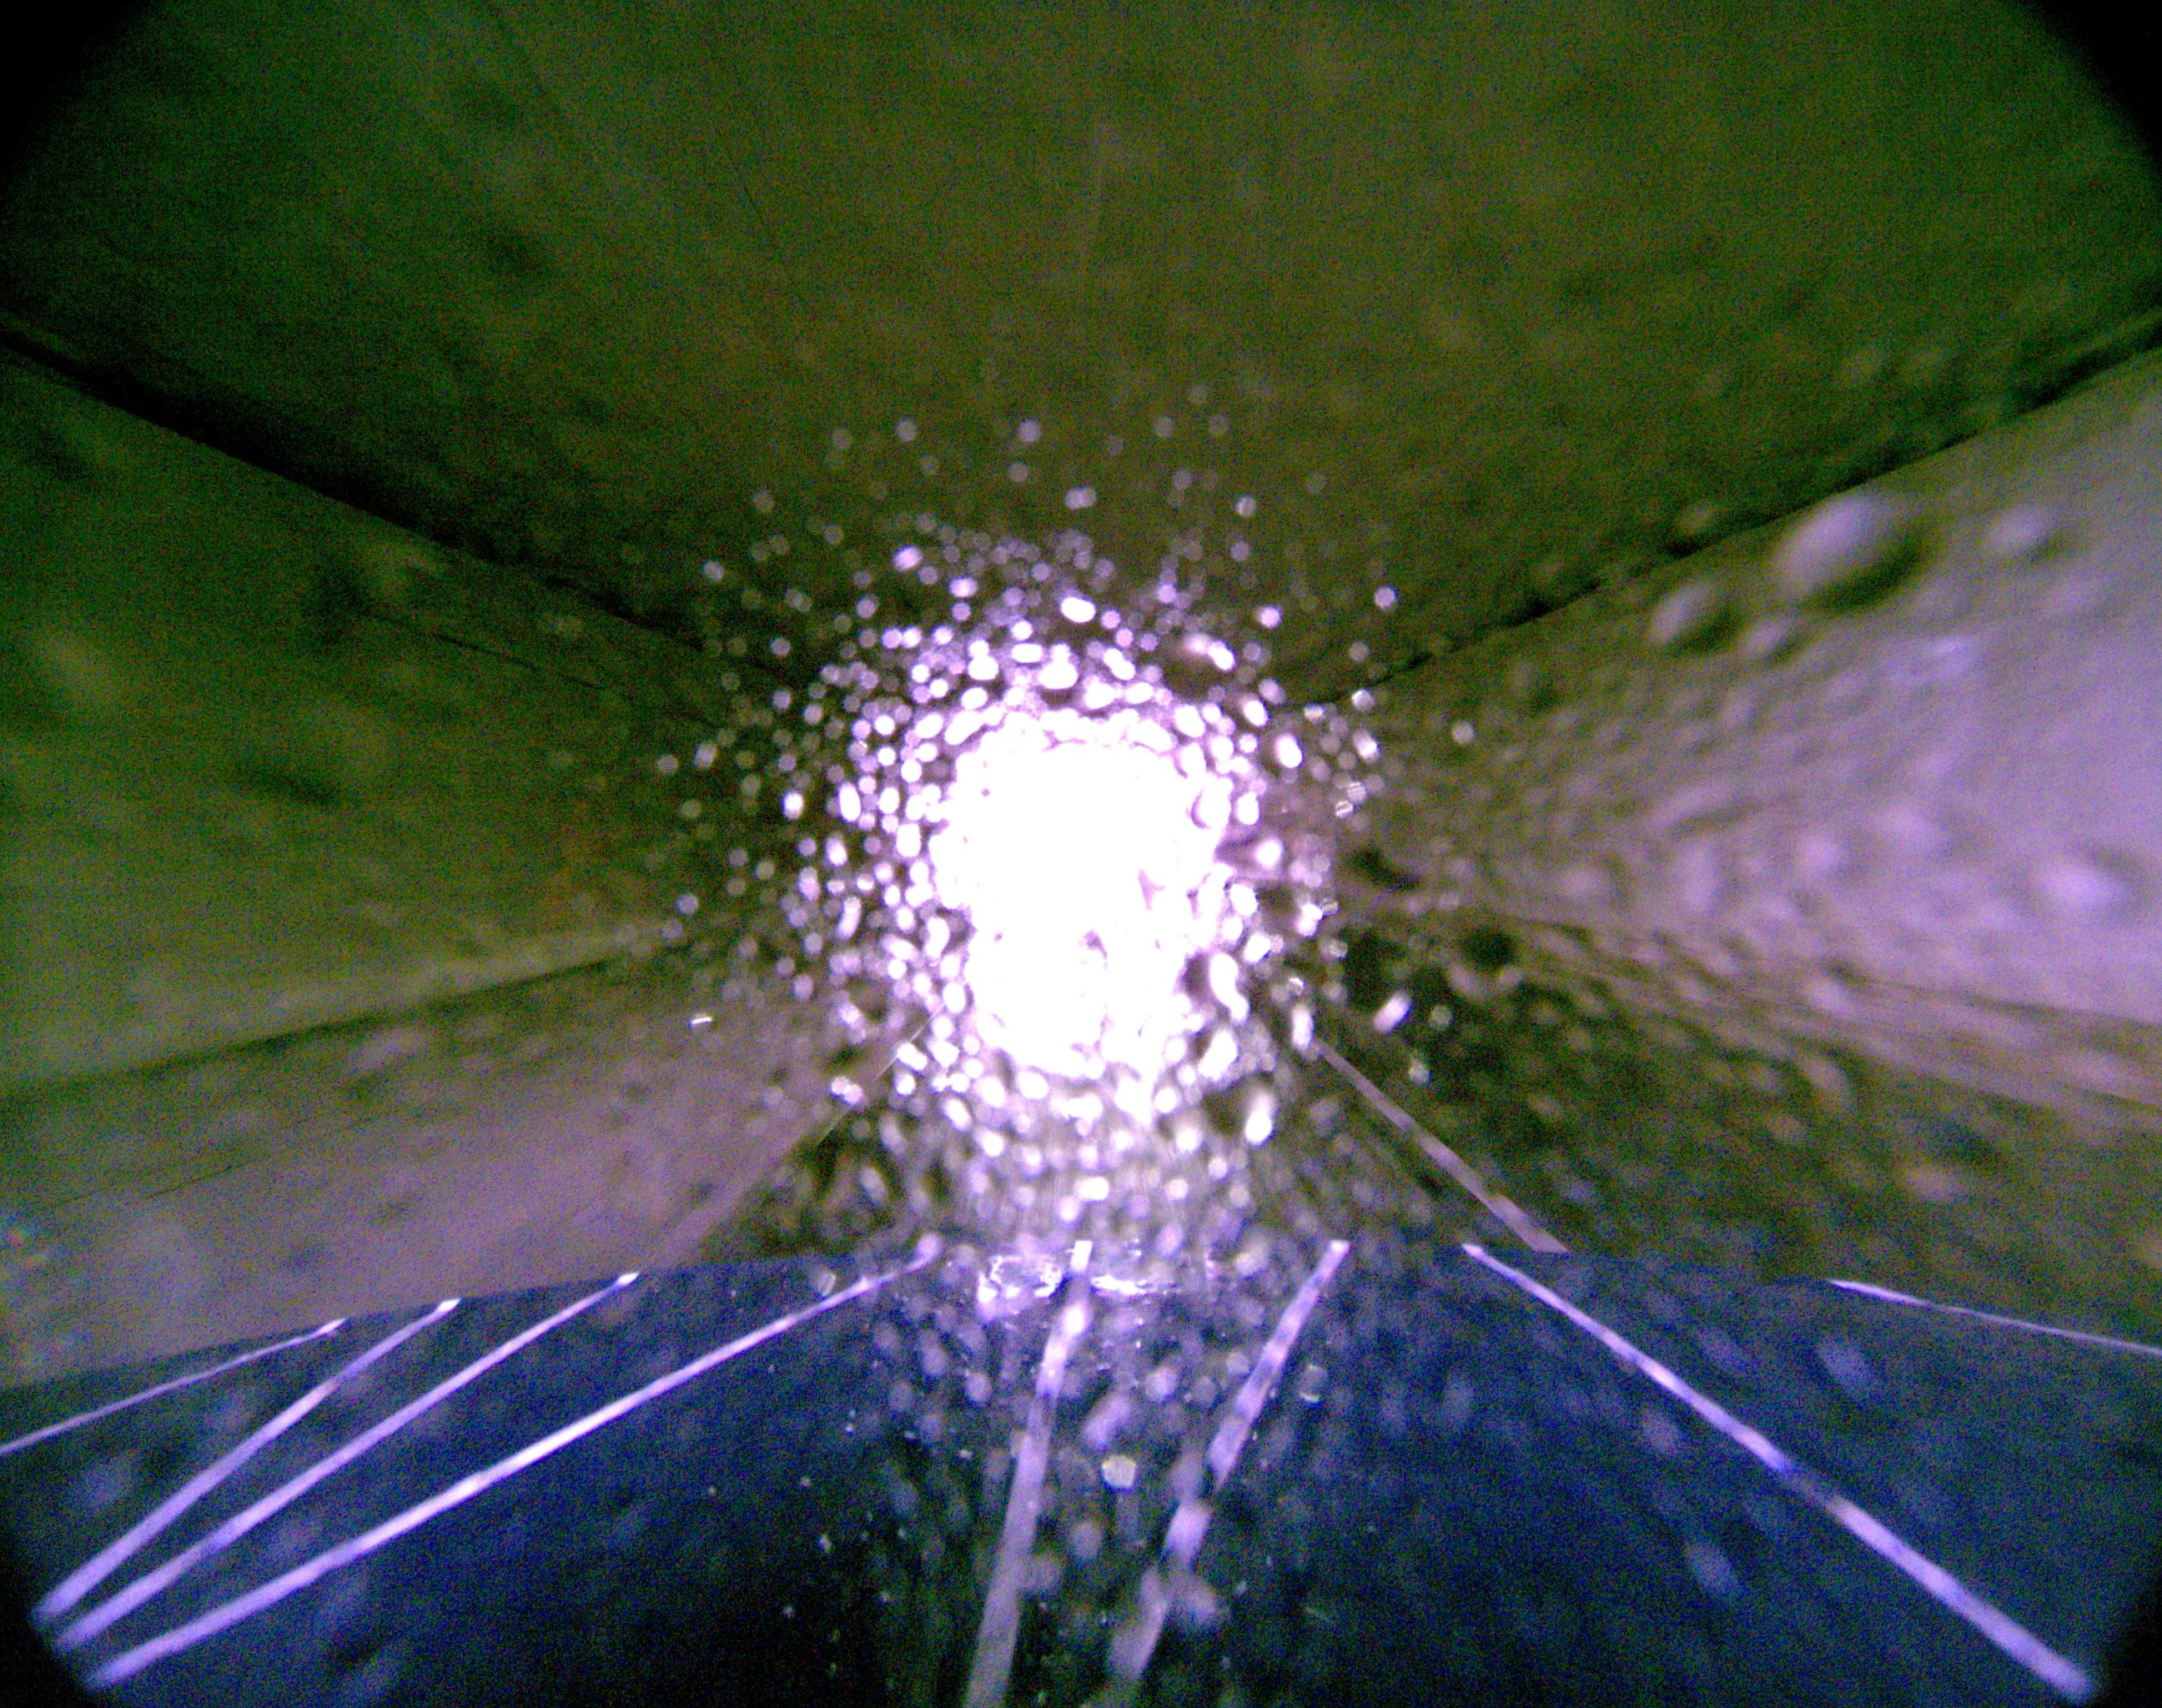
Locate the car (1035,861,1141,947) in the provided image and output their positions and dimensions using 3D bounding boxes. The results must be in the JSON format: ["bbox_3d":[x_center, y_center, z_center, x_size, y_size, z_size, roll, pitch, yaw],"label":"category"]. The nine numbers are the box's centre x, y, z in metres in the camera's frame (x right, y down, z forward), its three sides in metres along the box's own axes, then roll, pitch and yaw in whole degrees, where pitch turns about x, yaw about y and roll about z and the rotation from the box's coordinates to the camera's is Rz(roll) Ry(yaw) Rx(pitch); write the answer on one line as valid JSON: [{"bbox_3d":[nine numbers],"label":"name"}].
[{"bbox_3d":[0.042,0.880,15.394,1.767,1.316,4.547,-3,1,-2],"label":"car"}]

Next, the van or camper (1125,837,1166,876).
[{"bbox_3d":[3.753,0.102,44.890,1.998,2.086,4.691,-3,1,1],"label":"van or camper"}]
